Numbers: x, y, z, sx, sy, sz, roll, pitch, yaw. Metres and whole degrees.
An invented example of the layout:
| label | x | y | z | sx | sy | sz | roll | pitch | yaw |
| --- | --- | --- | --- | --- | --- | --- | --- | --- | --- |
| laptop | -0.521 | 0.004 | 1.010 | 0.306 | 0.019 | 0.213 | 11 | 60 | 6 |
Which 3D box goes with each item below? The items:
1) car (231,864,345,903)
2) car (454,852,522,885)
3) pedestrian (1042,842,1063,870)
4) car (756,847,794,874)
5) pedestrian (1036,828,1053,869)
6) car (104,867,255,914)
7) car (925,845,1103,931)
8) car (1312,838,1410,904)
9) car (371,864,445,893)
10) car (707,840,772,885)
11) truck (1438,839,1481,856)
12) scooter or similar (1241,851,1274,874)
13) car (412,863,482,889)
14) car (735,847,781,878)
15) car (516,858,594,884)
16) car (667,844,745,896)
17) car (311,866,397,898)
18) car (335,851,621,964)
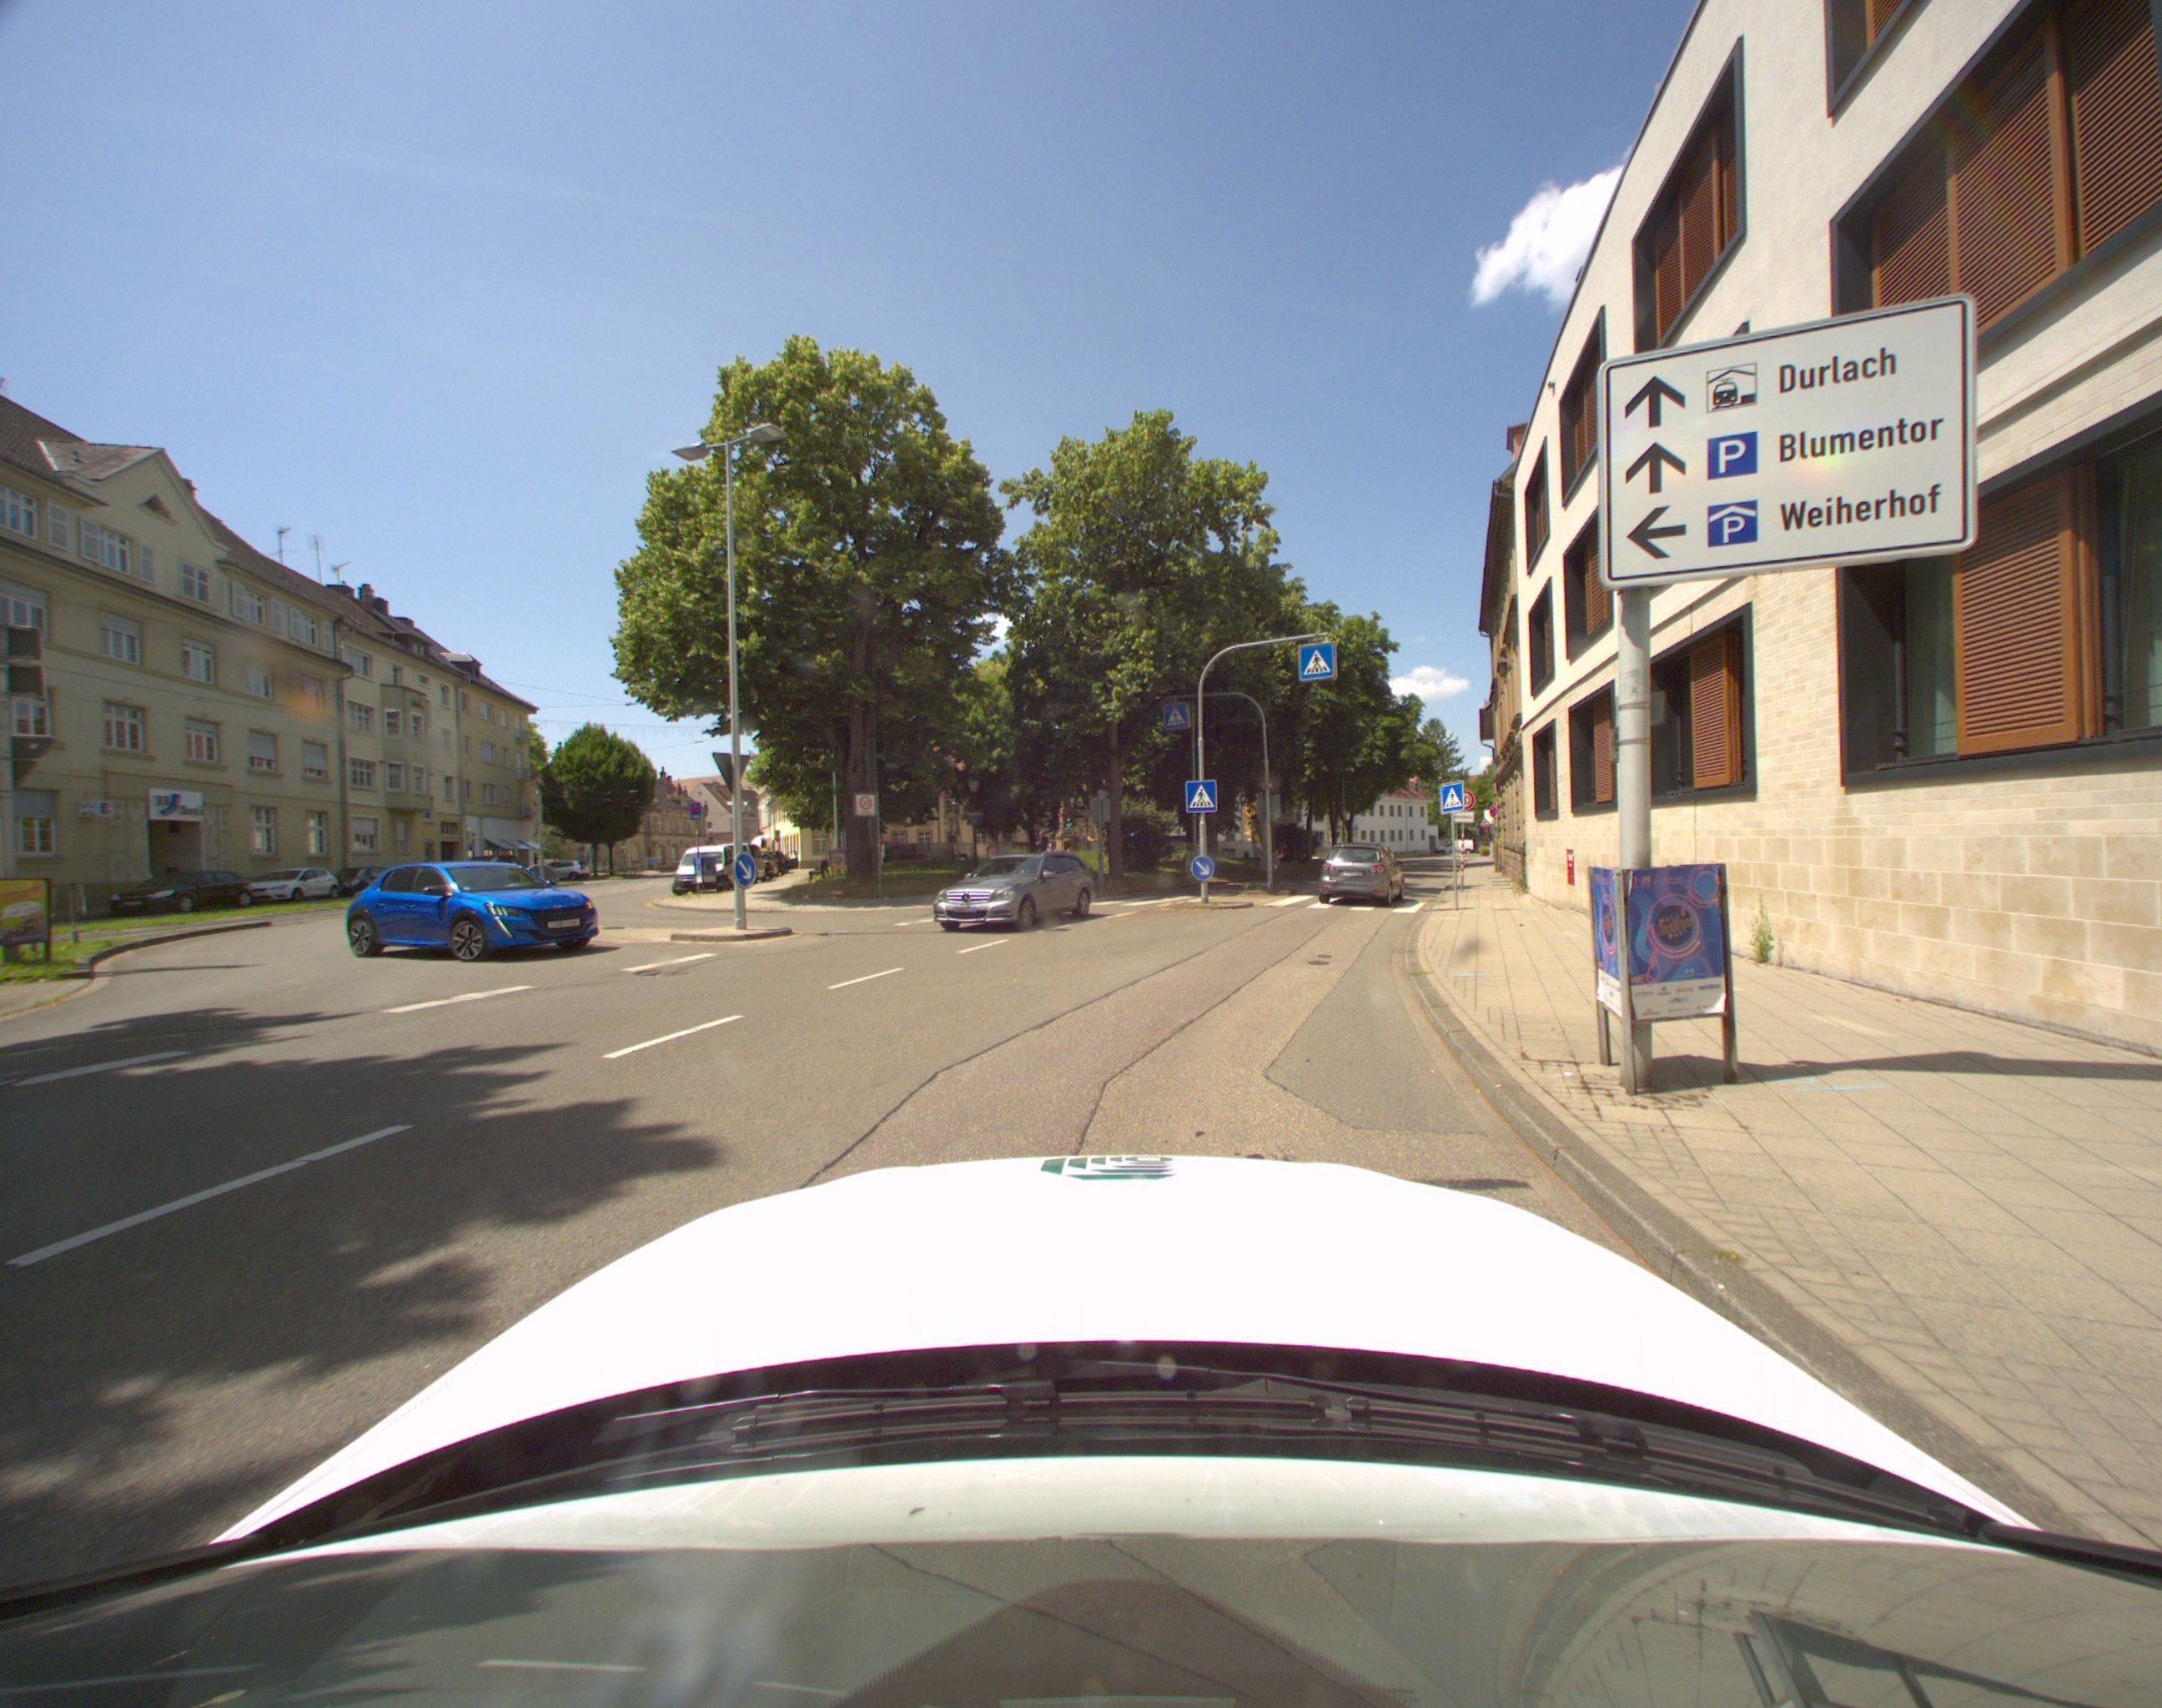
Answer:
| label | x | y | z | sx | sy | sz | roll | pitch | yaw |
| --- | --- | --- | --- | --- | --- | --- | --- | --- | --- |
| car | -33.074 | 1.180 | 34.101 | 1.689 | 1.390 | 3.837 | -4 | 1 | -15 |
| car | -37.992 | 0.897 | 52.298 | 1.857 | 1.911 | 4.746 | -4 | 1 | -15 |
| pedestrian | -1.313 | 0.086 | 37.944 | 0.903 | 1.252 | 1.148 | -1 | 2 | 0 |
| car | -19.993 | 0.400 | 53.339 | 1.786 | 1.693 | 4.180 | -1 | 1 | -14 |
| pedestrian | -1.740 | -0.275 | 38.842 | 0.745 | 1.910 | 0.684 | -1 | 2 | 0 |
| car | -31.645 | 1.234 | 28.761 | 1.689 | 1.360 | 3.837 | -4 | 1 | -15 |
| car | -1.171 | 0.574 | 16.533 | 1.722 | 1.488 | 4.432 | -1 | 0 | 23 |
| car | 7.556 | 0.392 | 21.725 | 1.886 | 1.533 | 4.268 | 2 | 1 | 26 |
| car | -35.655 | 1.260 | 43.250 | 1.605 | 1.277 | 3.568 | -4 | 1 | -15 |
| car | -16.437 | 0.370 | 39.451 | 2.052 | 2.002 | 5.224 | -1 | 1 | -14 |
| truck | 47.867 | -0.836 | 102.972 | 4.753 | 2.013 | 2.157 | -1 | 0 | 20 |
| scooter or similar | 9.091 | 0.435 | 41.968 | 1.261 | 0.991 | 1.460 | 8 | 4 | 24 |
| car | -36.804 | 1.236 | 47.398 | 1.645 | 1.277 | 4.242 | -4 | 1 | -15 |
| car | -18.301 | 0.445 | 46.294 | 1.786 | 1.624 | 4.464 | -1 | 1 | -14 |
| car | -37.618 | 1.199 | 58.342 | 4.217 | 1.504 | 1.991 | -4 | 1 | -20 |
| car | -14.327 | 0.549 | 31.350 | 1.997 | 1.826 | 4.399 | -1 | 1 | -16 |
| car | -34.348 | 1.293 | 38.573 | 1.690 | 1.277 | 3.271 | -4 | 1 | -15 |
| car | -9.428 | 0.745 | 12.749 | 3.951 | 1.492 | 1.826 | -1 | 1 | 24 |
